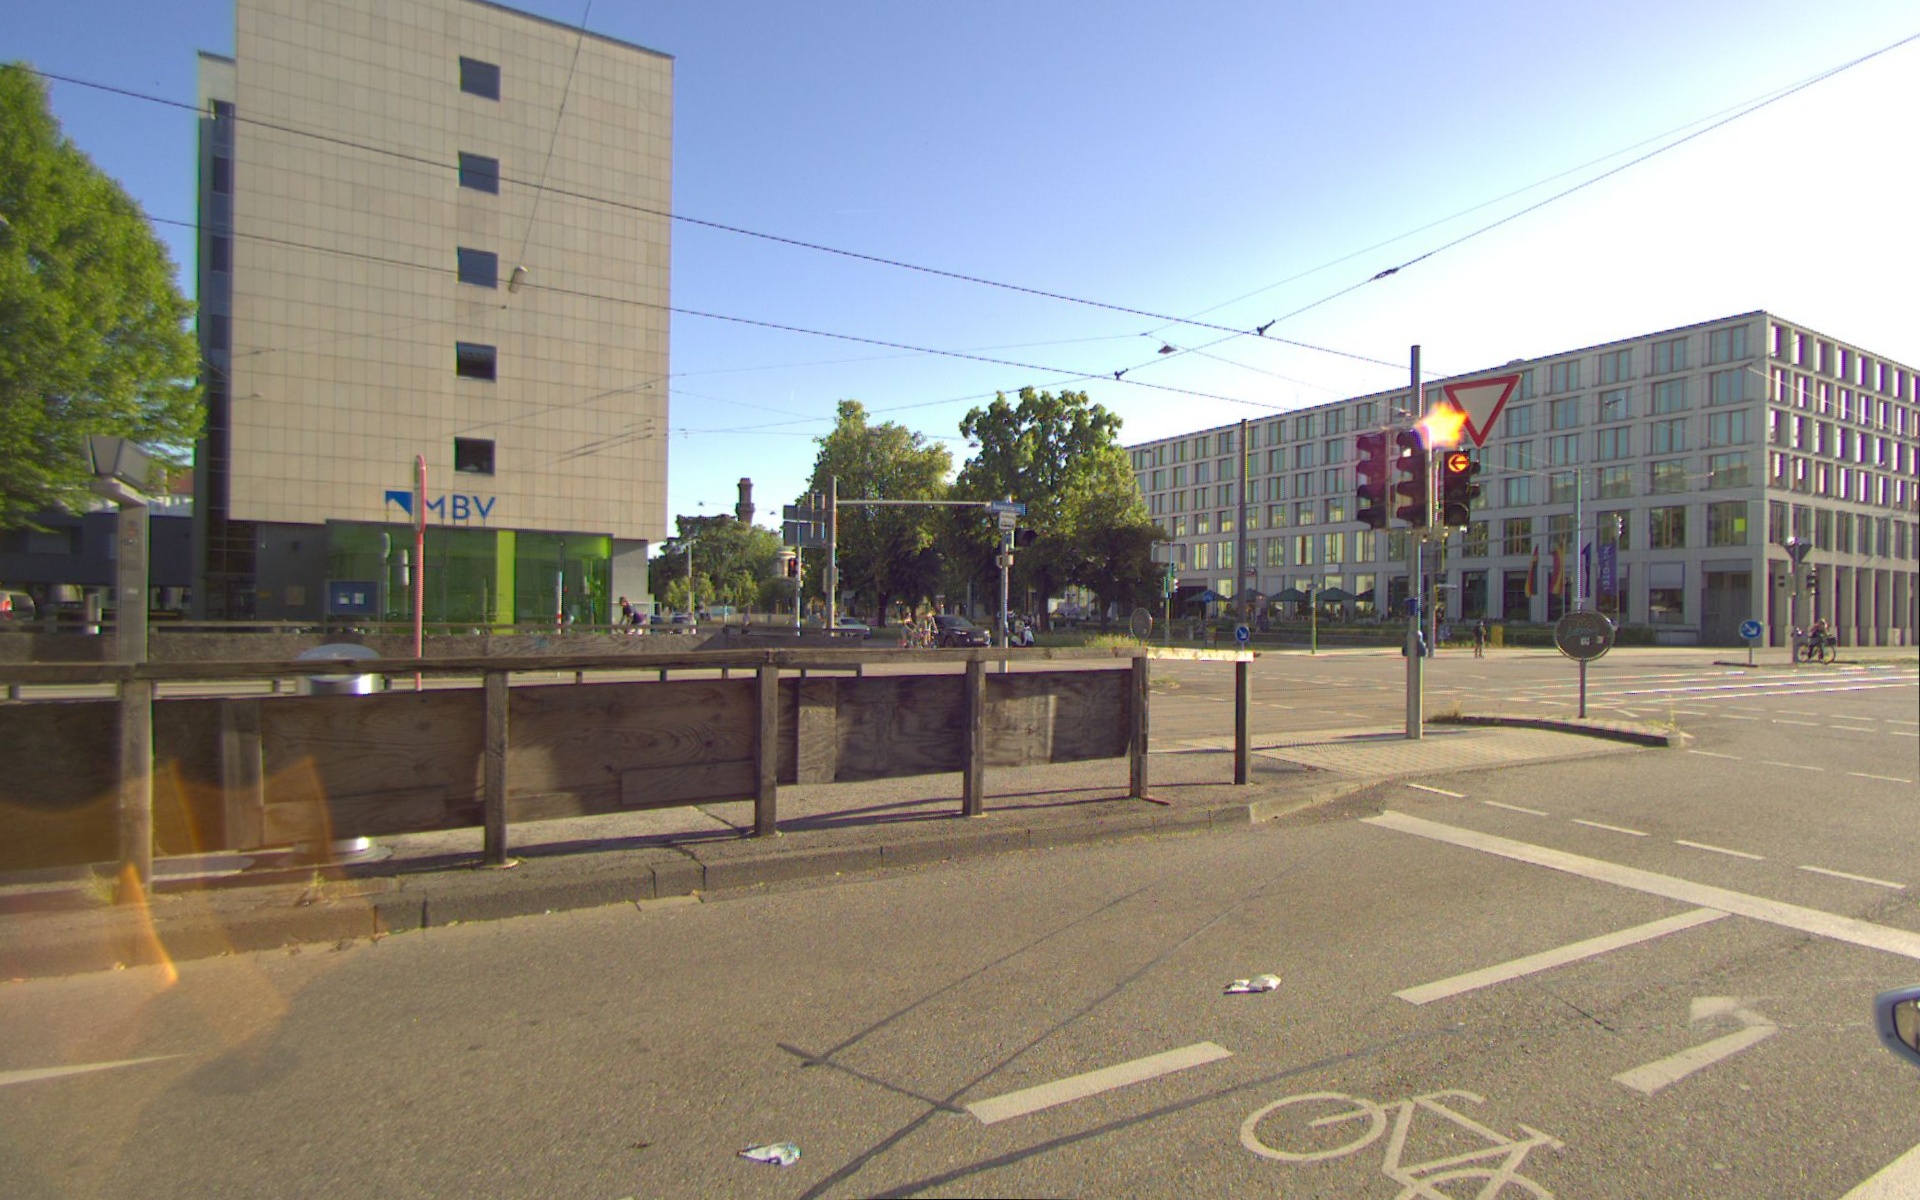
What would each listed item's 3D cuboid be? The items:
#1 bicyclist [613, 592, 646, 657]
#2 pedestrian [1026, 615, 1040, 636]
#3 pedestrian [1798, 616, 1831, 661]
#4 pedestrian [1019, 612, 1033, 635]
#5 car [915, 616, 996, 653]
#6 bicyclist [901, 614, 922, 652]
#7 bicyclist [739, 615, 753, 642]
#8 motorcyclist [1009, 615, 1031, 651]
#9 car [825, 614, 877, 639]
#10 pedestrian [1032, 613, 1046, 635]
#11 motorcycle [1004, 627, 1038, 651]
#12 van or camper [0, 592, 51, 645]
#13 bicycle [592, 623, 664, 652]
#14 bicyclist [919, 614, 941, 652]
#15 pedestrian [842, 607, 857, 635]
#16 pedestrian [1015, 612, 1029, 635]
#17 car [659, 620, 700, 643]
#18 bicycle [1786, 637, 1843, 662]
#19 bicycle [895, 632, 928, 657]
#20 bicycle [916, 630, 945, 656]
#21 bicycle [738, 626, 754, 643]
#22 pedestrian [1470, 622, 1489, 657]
[{"bbox_3d":[-9.185,0.688,27.909,0.762,1.784,0.532,1,-1,-30],"label":"bicyclist"},{"bbox_3d":[5.982,2.082,82.359,0.858,1.738,0.737,2,0,-26],"label":"pedestrian"},{"bbox_3d":[30.925,1.389,36.370,0.562,1.616,0.744,1,-1,-3],"label":"pedestrian"},{"bbox_3d":[5.315,1.886,80.606,0.858,1.738,0.737,2,0,-26],"label":"pedestrian"},{"bbox_3d":[-0.264,1.510,44.619,1.925,1.561,3.969,2,-2,-29],"label":"car"},{"bbox_3d":[-2.033,1.366,42.005,0.577,1.563,0.833,1,-2,-32],"label":"bicyclist"},{"bbox_3d":[-13.204,1.747,61.963,0.576,1.658,0.890,1,-1,-27],"label":"bicyclist"},{"bbox_3d":[2.806,1.538,46.975,0.624,1.601,0.812,-3,1,-28],"label":"motorcyclist"},{"bbox_3d":[-7.146,1.707,65.578,1.975,1.472,4.179,2,0,-28],"label":"car"},{"bbox_3d":[6.316,1.914,80.157,0.858,1.738,0.737,2,0,-26],"label":"pedestrian"},{"bbox_3d":[2.847,1.819,46.944,0.624,1.030,1.972,-3,1,-28],"label":"motorcycle"},{"bbox_3d":[-27.888,0.428,27.554,3.954,1.425,1.954,4,-3,-30],"label":"van or camper"},{"bbox_3d":[-9.207,1.040,27.901,1.831,0.798,0.532,1,-1,-31],"label":"bicycle"},{"bbox_3d":[-1.274,1.384,42.405,0.576,1.563,0.890,1,-1,-27],"label":"bicyclist"},{"bbox_3d":[-8.154,1.556,74.125,0.772,2.040,0.747,1,-1,-31],"label":"pedestrian"},{"bbox_3d":[4.903,1.868,79.497,0.858,1.738,0.737,2,0,-26],"label":"pedestrian"},{"bbox_3d":[-20.386,2.278,72.947,1.975,1.472,4.179,2,0,-28],"label":"car"},{"bbox_3d":[30.923,1.784,36.374,0.562,0.834,1.718,1,-1,-2],"label":"bicycle"},{"bbox_3d":[-2.038,1.845,42.008,0.577,1.032,1.806,1,-3,-31],"label":"bicycle"},{"bbox_3d":[-1.267,1.812,42.370,0.576,1.032,1.666,1,-1,-27],"label":"bicycle"},{"bbox_3d":[-13.185,2.132,61.914,0.576,1.032,1.666,1,-1,-27],"label":"bicycle"},{"bbox_3d":[25.177,1.906,48.698,0.596,1.703,0.604,1,-1,-12],"label":"pedestrian"}]
